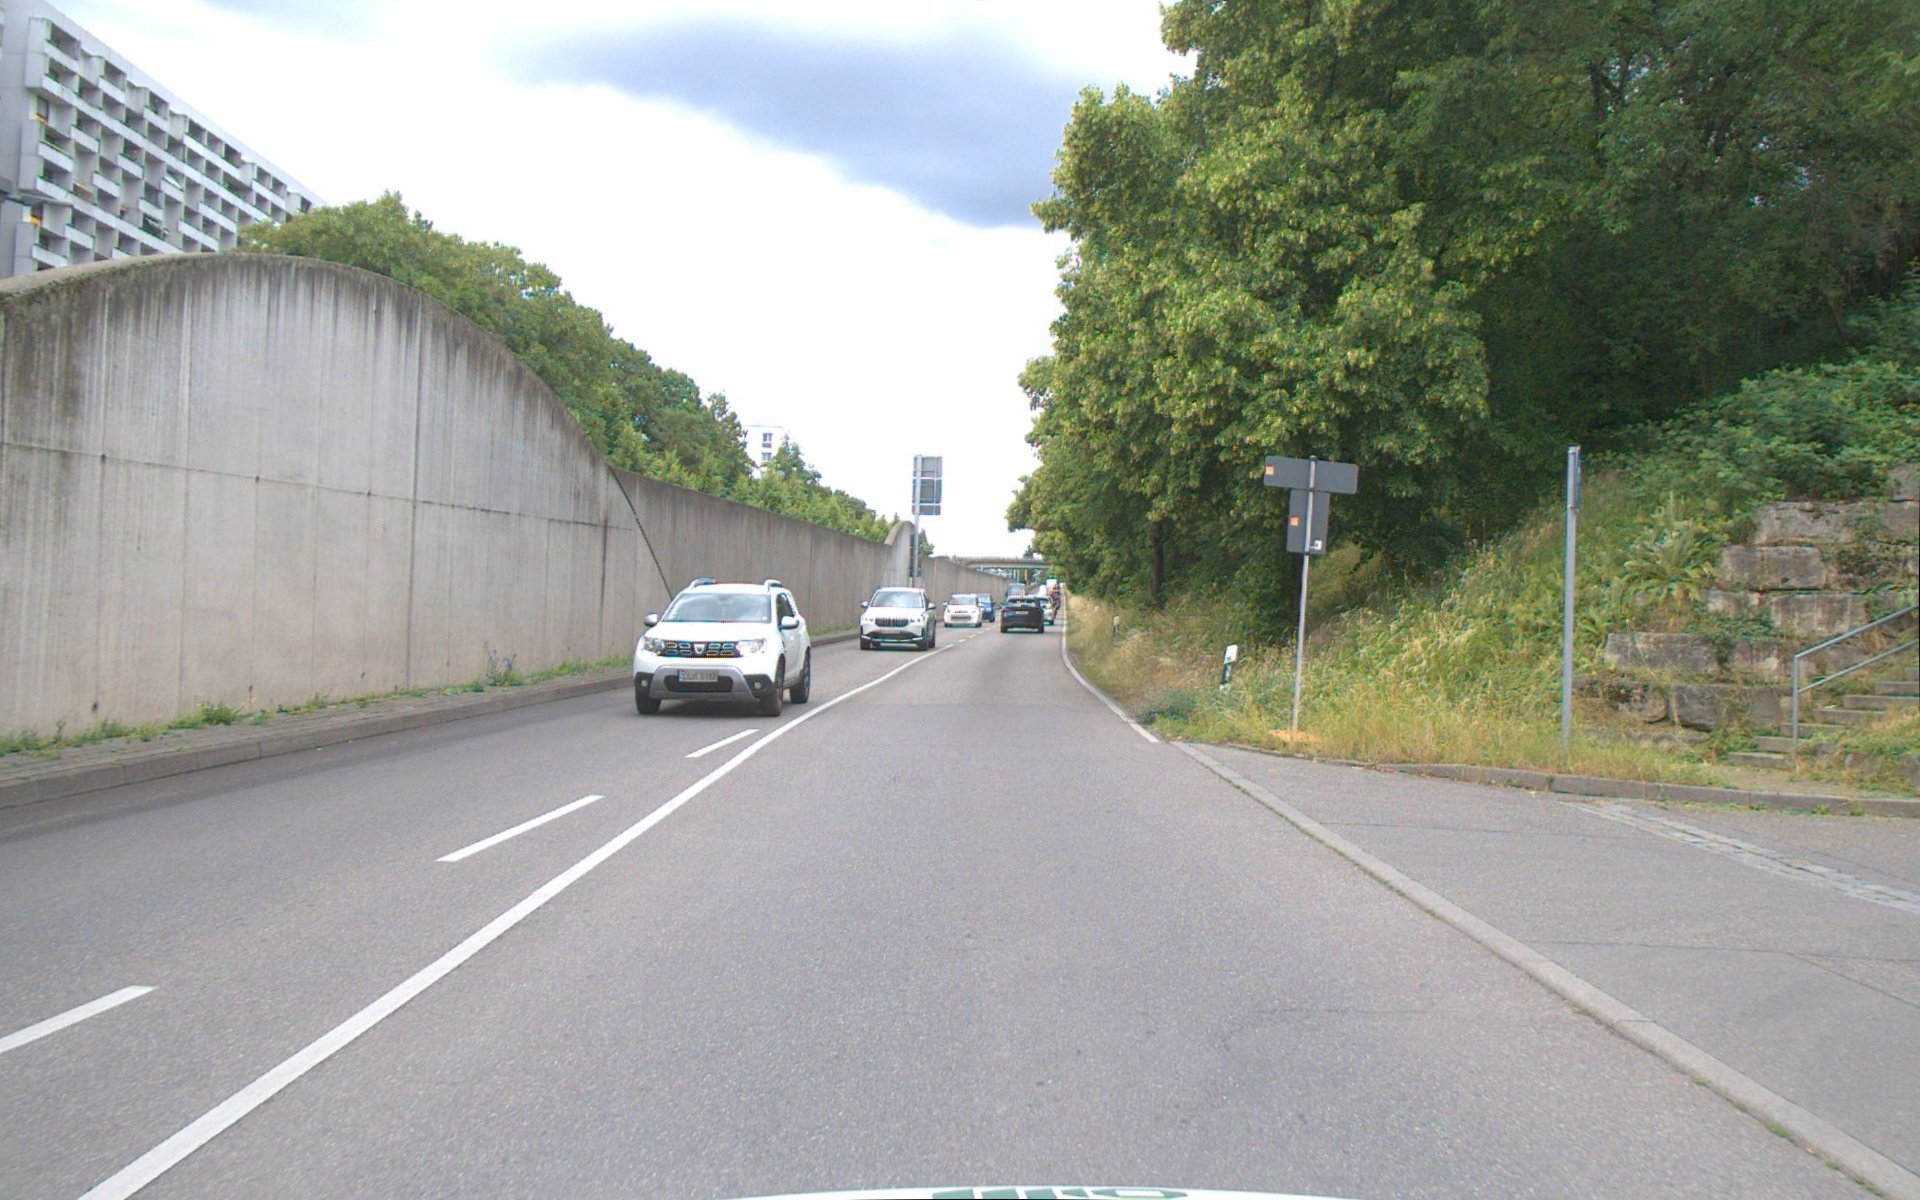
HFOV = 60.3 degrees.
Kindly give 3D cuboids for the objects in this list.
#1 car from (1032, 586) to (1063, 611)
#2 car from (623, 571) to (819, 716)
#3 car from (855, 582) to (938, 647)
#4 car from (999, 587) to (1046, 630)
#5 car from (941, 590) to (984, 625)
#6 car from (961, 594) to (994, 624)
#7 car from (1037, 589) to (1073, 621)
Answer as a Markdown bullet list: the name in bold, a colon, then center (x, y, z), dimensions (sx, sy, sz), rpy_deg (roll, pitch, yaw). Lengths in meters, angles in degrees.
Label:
- **car**: center (5.742, -0.094, 108.680), dimensions (1.828, 1.516, 4.258), rpy_deg (4, 0, 2)
- **car**: center (-2.988, 0.504, 21.535), dimensions (1.823, 1.660, 4.209), rpy_deg (1, 0, 1)
- **car**: center (-1.669, 0.373, 45.054), dimensions (1.851, 1.660, 4.428), rpy_deg (1, 0, 3)
- **car**: center (2.561, 0.379, 66.896), dimensions (1.717, 1.550, 4.038), rpy_deg (-2, -2, 4)
- **car**: center (0.137, 0.325, 76.637), dimensions (1.876, 1.522, 4.209), rpy_deg (1, 0, 1)
- **car**: center (0.960, 0.478, 91.032), dimensions (1.731, 1.522, 4.209), rpy_deg (1, 0, 1)
- **car**: center (4.850, 0.271, 84.001), dimensions (1.717, 1.550, 4.038), rpy_deg (1, -2, 4)
